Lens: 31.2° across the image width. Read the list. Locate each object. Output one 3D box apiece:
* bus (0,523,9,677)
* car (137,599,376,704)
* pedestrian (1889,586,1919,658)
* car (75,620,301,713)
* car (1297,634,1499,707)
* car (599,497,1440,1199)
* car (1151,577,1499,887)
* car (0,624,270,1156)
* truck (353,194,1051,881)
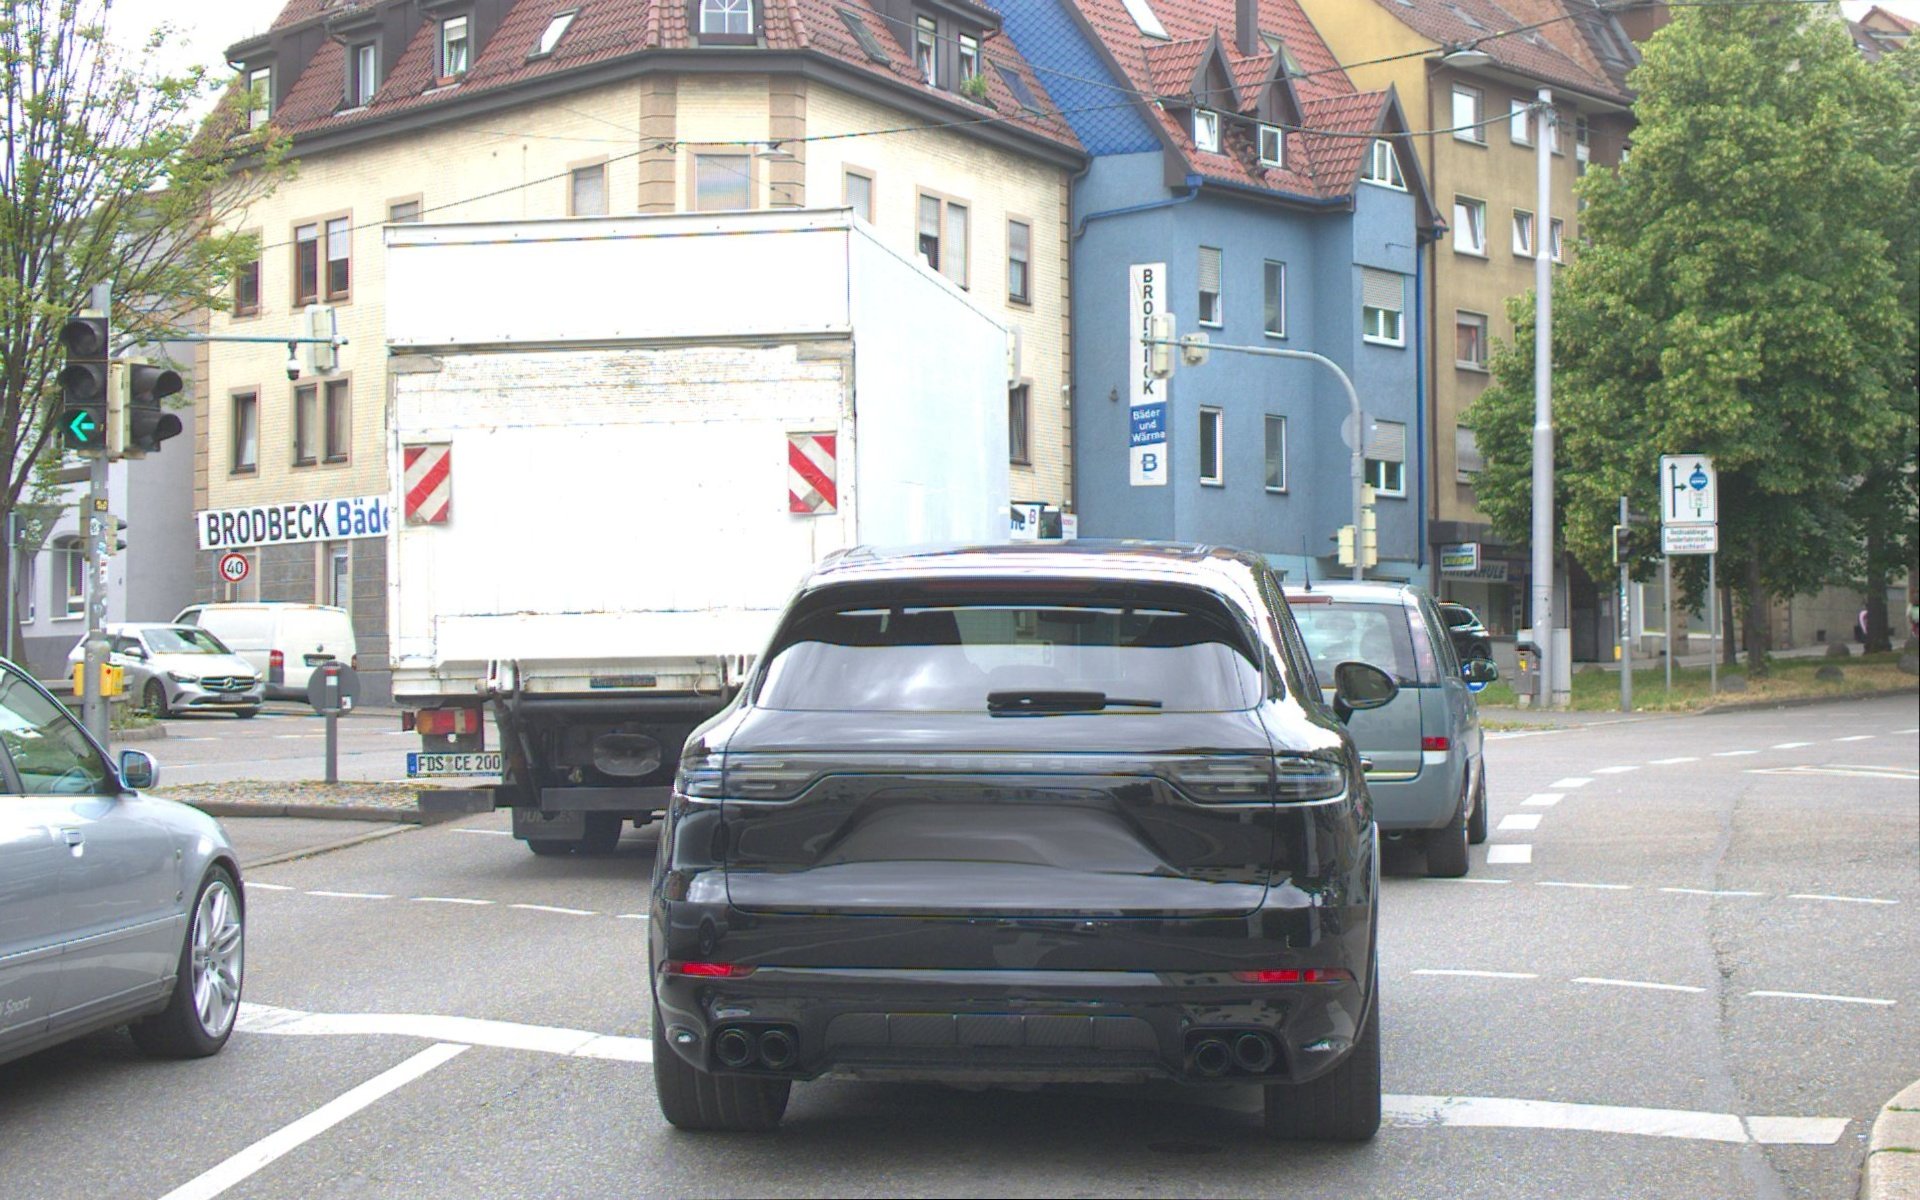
[{"bbox_3d":[-24.678,-0.035,72.165,12.142,3.086,3.159,0,-1,43],"label":"bus"},{"bbox_3d":[-12.526,0.880,61.108,4.333,1.793,2.059,0,0,44],"label":"car"},{"bbox_3d":[26.685,0.613,95.882,1.194,2.007,0.987,0,0,36],"label":"pedestrian"},{"bbox_3d":[-12.692,1.096,56.427,1.875,1.465,3.973,2,-2,-42],"label":"car"},{"bbox_3d":[8.753,1.419,68.428,1.874,1.411,4.687,-1,-2,38],"label":"car"},{"bbox_3d":[0.297,0.602,10.727,2.032,1.717,4.499,2,1,4],"label":"car"},{"bbox_3d":[2.149,0.699,19.487,1.649,1.550,3.581,1,-1,11],"label":"car"},{"bbox_3d":[-3.297,0.766,9.483,1.629,1.360,4.127,1,0,5],"label":"car"},{"bbox_3d":[-1.249,-0.320,22.038,2.726,3.532,8.418,1,0,8],"label":"truck"}]
